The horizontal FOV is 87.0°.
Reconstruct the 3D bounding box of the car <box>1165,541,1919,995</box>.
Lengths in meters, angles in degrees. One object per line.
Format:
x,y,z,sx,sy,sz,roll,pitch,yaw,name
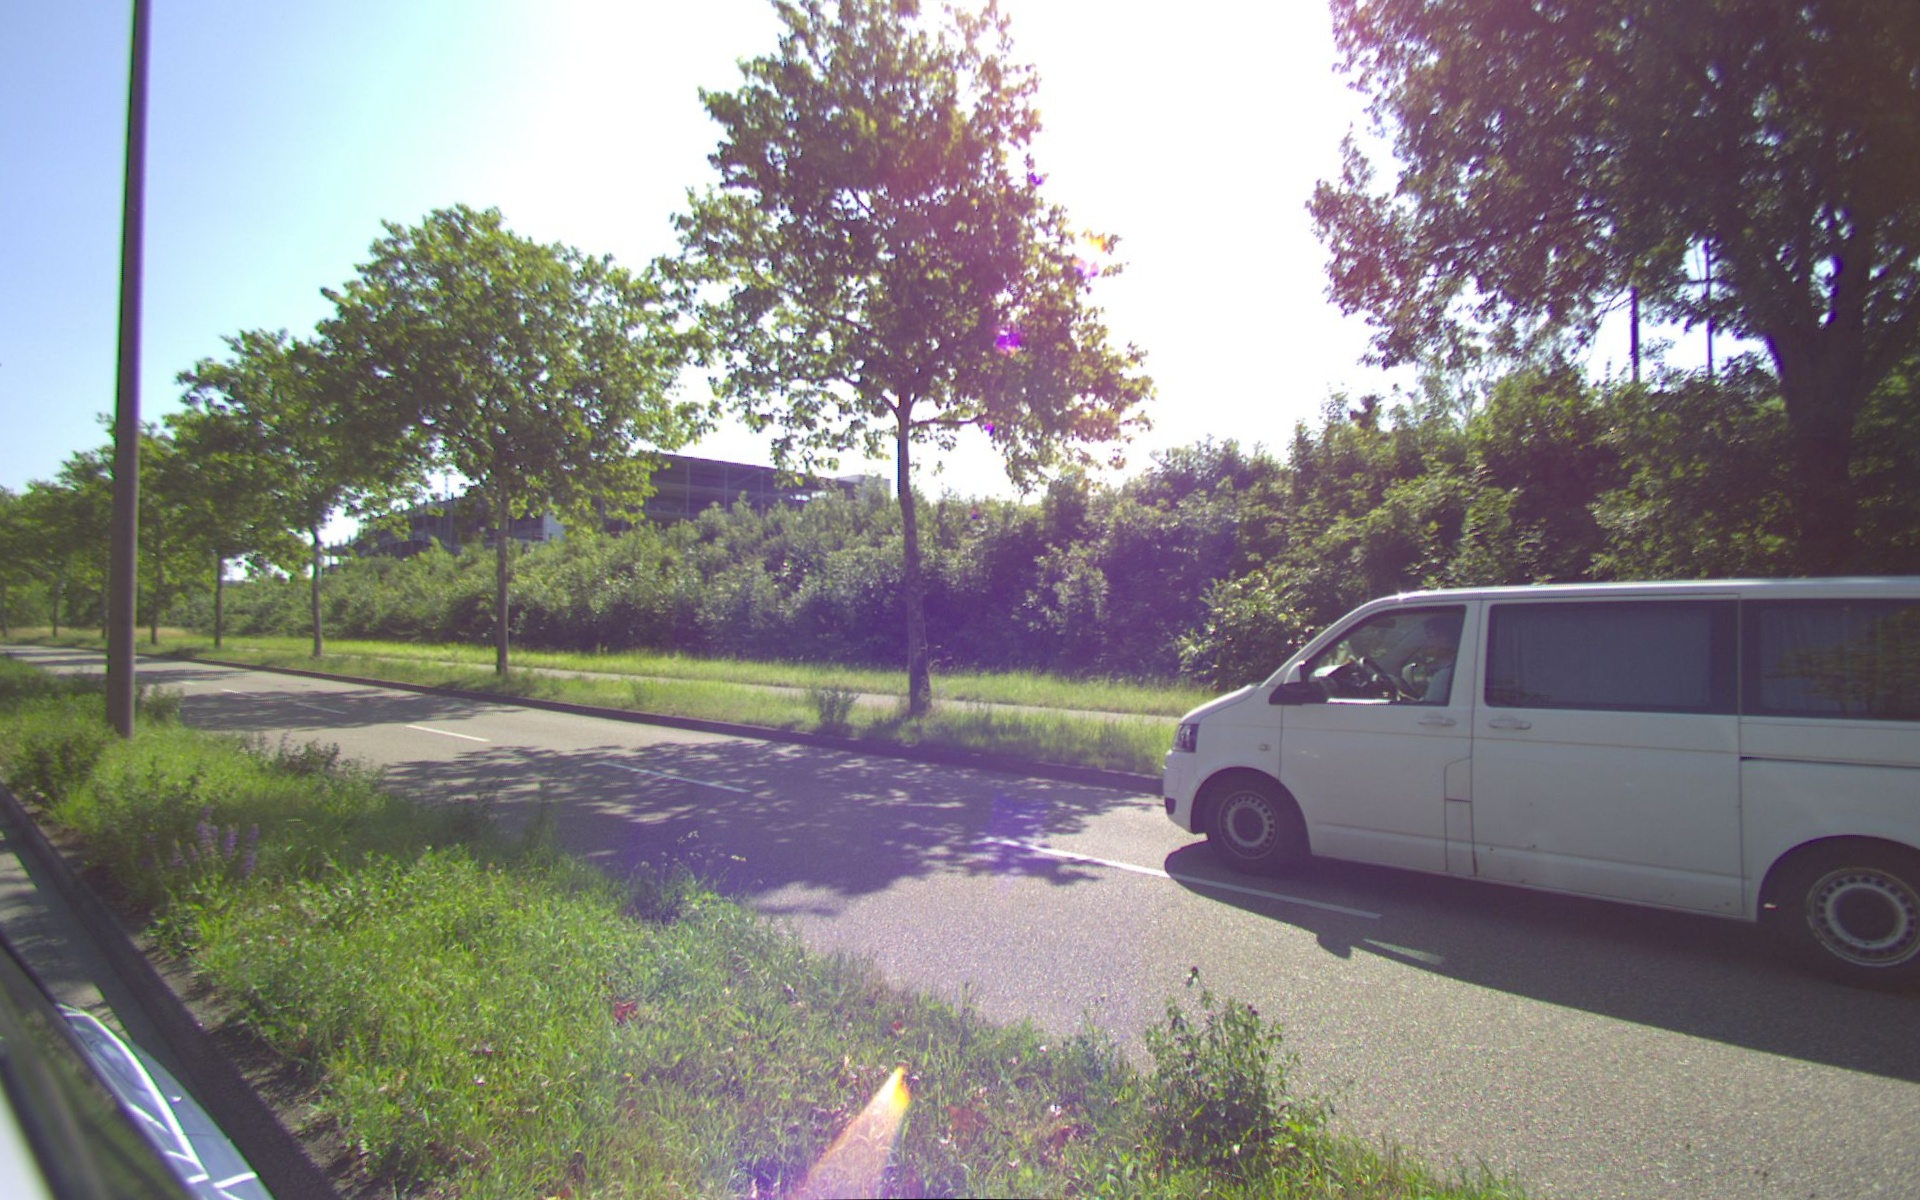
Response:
3.718,0.780,5.953,4.574,1.912,1.972,-1,-4,43,car
